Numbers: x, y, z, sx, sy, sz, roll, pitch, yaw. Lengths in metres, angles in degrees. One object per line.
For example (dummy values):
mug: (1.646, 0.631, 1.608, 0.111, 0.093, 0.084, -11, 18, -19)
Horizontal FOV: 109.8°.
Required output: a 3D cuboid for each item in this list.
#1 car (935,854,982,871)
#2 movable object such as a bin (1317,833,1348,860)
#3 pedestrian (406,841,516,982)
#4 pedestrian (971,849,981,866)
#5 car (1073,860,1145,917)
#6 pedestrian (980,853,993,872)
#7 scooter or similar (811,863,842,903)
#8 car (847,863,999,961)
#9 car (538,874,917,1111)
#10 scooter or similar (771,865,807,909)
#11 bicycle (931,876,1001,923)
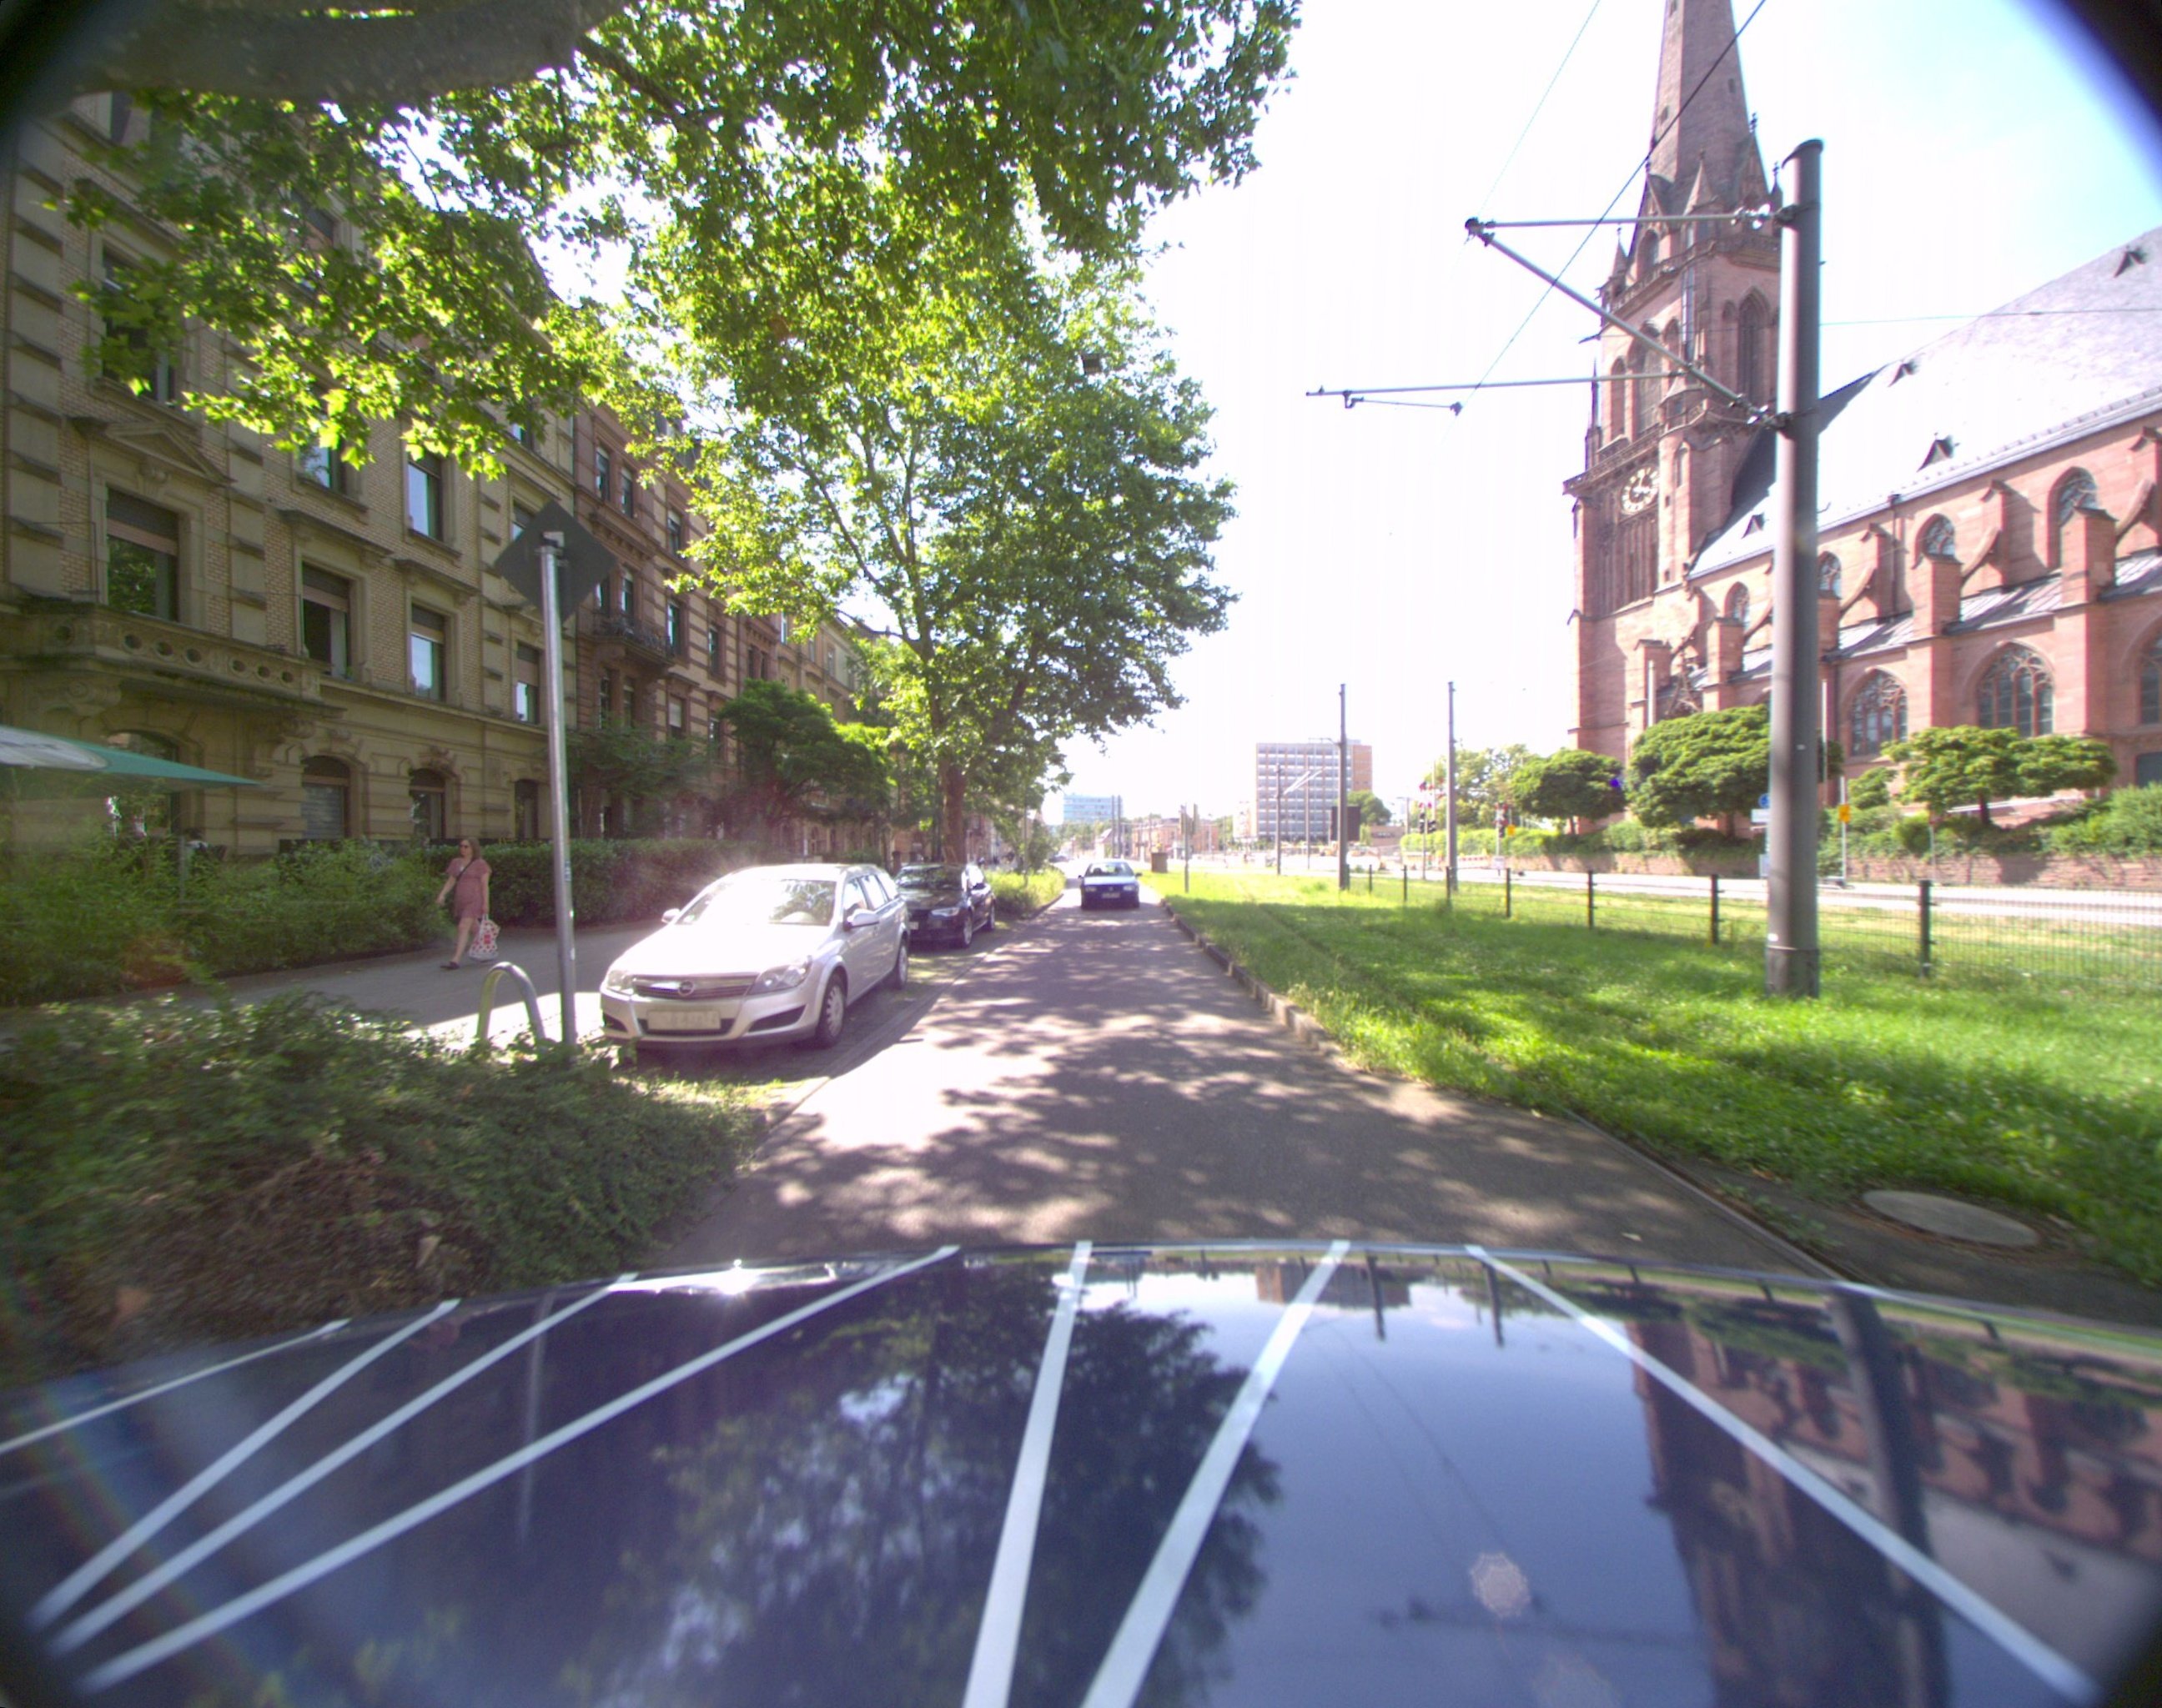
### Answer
car: (-11.082, 0.738, 68.941, 4.093, 1.507, 1.886, 0, 1, -8)
movable object such as a bin: (37.493, -1.124, 113.326, 3.341, 3.859, 2.931, -1, 1, -33)
pedestrian: (-8.209, 0.733, 10.096, 0.738, 1.775, 0.852, 1, 1, 0)
pedestrian: (-10.849, 0.351, 78.601, 0.797, 1.708, 0.967, -1, 1, 0)
car: (0.837, 0.938, 22.553, 1.886, 1.401, 4.093, -3, 0, 2)
pedestrian: (-8.442, 0.736, 67.705, 0.796, 1.708, 0.968, -1, 1, 14)
scooter or similar: (-8.367, 0.943, 25.030, 0.583, 1.275, 1.145, 0, 1, 3)
car: (-2.791, 0.961, 14.536, 1.838, 1.499, 4.643, 0, 0, 1)
car: (-2.941, 1.020, 7.558, 1.838, 1.499, 4.490, 0, 0, -3)
scooter or similar: (-8.563, 0.945, 22.309, 0.583, 1.240, 1.145, 0, 1, 1)
bicycle: (-2.810, 1.095, 18.631, 1.641, 1.082, 0.470, -1, 1, -33)
